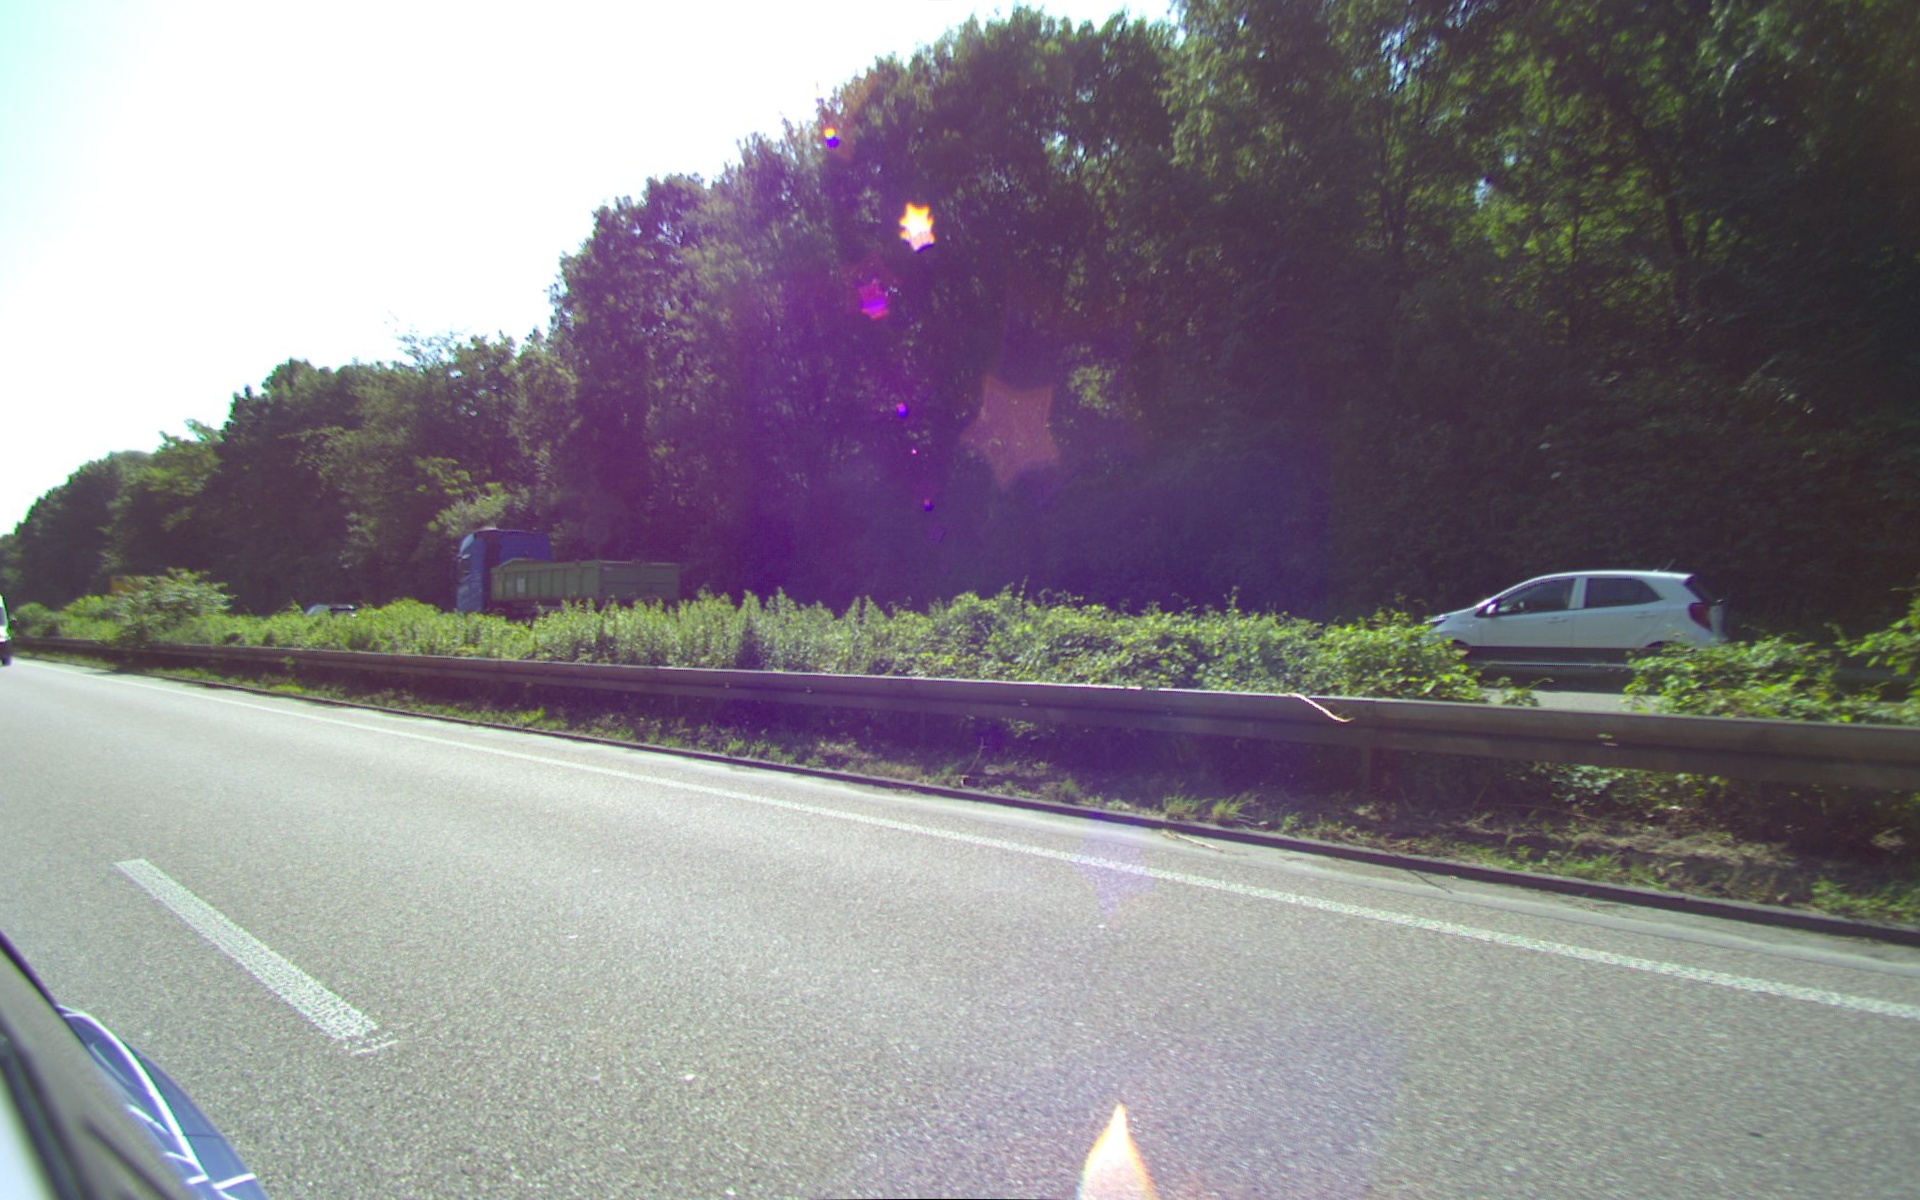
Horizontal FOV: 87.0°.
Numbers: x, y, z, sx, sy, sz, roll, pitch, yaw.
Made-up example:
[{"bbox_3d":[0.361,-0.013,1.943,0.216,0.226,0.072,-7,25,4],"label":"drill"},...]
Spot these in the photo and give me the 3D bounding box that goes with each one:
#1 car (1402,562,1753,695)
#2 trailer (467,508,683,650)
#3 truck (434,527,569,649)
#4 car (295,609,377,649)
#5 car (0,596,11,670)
[{"bbox_3d":[7.917,0.340,13.151,3.623,1.484,1.654,-1,0,43],"label":"car"},{"bbox_3d":[-11.711,-0.495,30.323,7.981,3.740,2.660,-1,0,42],"label":"trailer"},{"bbox_3d":[-15.130,-0.356,33.330,3.999,3.734,2.618,-1,0,42],"label":"truck"},{"bbox_3d":[-27.501,1.327,44.547,4.710,1.674,1.675,-2,-3,41],"label":"car"},{"bbox_3d":[-33.805,1.130,34.255,4.635,2.462,2.020,-1,0,41],"label":"car"}]
